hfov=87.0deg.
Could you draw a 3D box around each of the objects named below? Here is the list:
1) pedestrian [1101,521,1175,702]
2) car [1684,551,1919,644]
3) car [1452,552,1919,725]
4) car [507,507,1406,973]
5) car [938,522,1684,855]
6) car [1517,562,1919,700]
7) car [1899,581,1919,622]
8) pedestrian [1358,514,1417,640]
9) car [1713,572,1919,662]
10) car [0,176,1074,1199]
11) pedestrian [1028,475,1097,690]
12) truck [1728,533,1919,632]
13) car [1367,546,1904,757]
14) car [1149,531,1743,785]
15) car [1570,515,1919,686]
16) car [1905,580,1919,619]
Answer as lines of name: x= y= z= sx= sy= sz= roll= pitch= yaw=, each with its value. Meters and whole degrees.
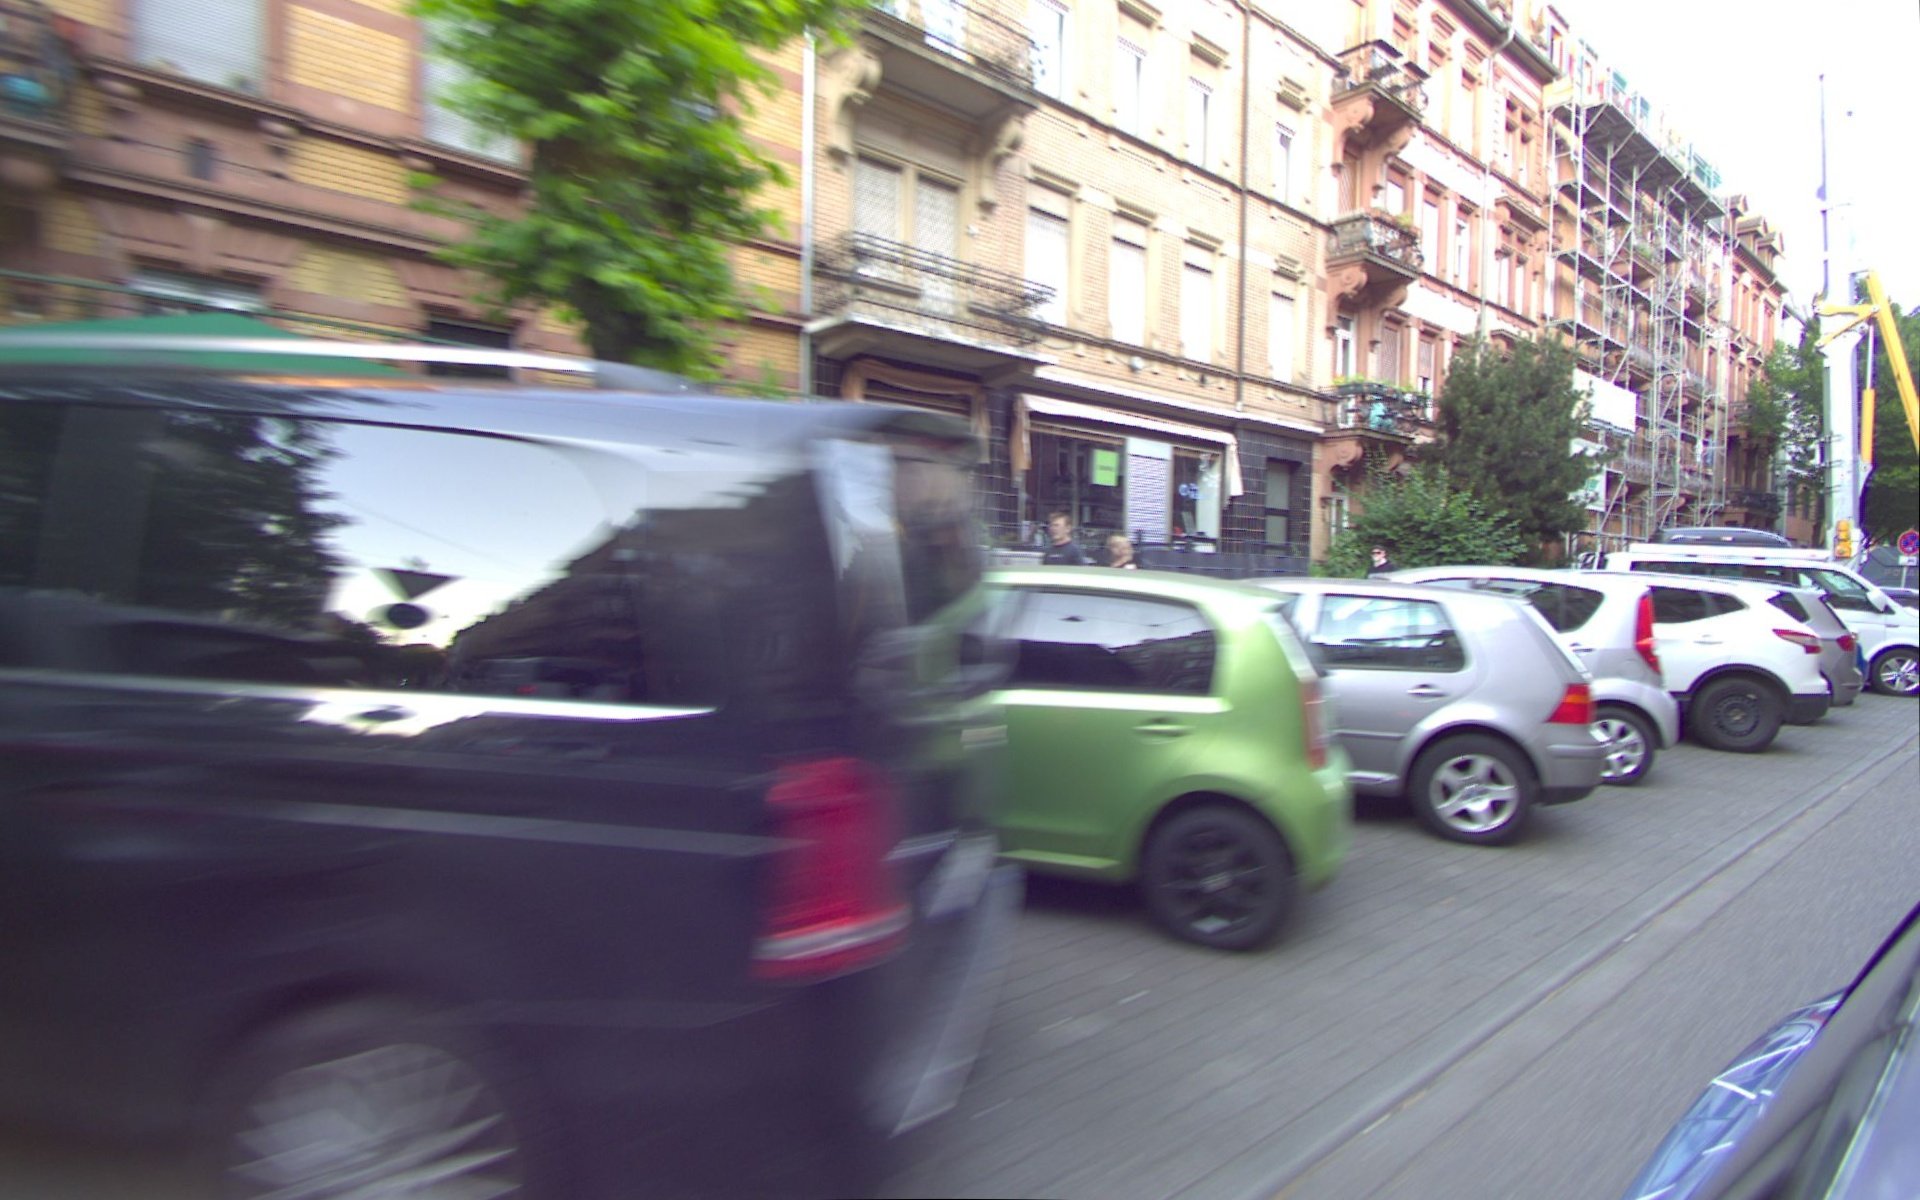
pedestrian: x=1.749 y=0.106 z=9.920 sx=0.617 sy=1.702 sz=0.652 roll=0 pitch=0 yaw=19
car: x=21.758 y=-0.110 z=25.649 sx=1.866 sy=1.979 sz=5.185 roll=1 pitch=3 yaw=-41
car: x=8.424 y=0.357 z=12.263 sx=4.115 sy=1.610 sz=1.874 roll=4 pitch=2 yaw=20
car: x=-0.045 y=0.430 z=5.250 sx=4.057 sy=1.570 sz=1.808 roll=4 pitch=3 yaw=19
car: x=2.084 y=0.386 z=6.806 sx=4.057 sy=1.570 sz=1.808 roll=4 pitch=3 yaw=19
car: x=10.282 y=0.328 z=14.124 sx=4.118 sy=1.610 sz=1.872 roll=2 pitch=2 yaw=22
car: x=37.754 y=0.155 z=37.479 sx=3.940 sy=1.506 sz=1.677 roll=3 pitch=3 yaw=16
pedestrian: x=6.308 y=-0.354 z=14.905 sx=0.680 sy=1.770 sz=0.820 roll=3 pitch=4 yaw=26
car: x=16.875 y=0.300 z=19.142 sx=3.826 sy=1.535 sz=1.833 roll=2 pitch=2 yaw=25
car: x=-2.473 y=0.213 z=3.042 sx=5.354 sy=2.097 sz=1.927 roll=4 pitch=3 yaw=12
pedestrian: x=1.021 y=-0.170 z=9.979 sx=0.615 sy=2.039 sz=0.654 roll=0 pitch=0 yaw=10
truck: x=30.237 y=-0.598 z=34.119 sx=2.478 sy=3.115 sz=6.499 roll=-1 pitch=1 yaw=-36
car: x=6.398 y=0.379 z=10.212 sx=4.058 sy=1.609 sz=1.807 roll=4 pitch=3 yaw=20
car: x=3.708 y=0.351 z=8.519 sx=4.047 sy=1.609 sz=1.812 roll=4 pitch=3 yaw=13
car: x=12.563 y=-0.065 z=15.797 sx=4.886 sy=2.391 sz=1.984 roll=2 pitch=2 yaw=25
car: x=39.951 y=0.116 z=39.424 sx=4.110 sy=1.506 sz=1.824 roll=3 pitch=3 yaw=14
